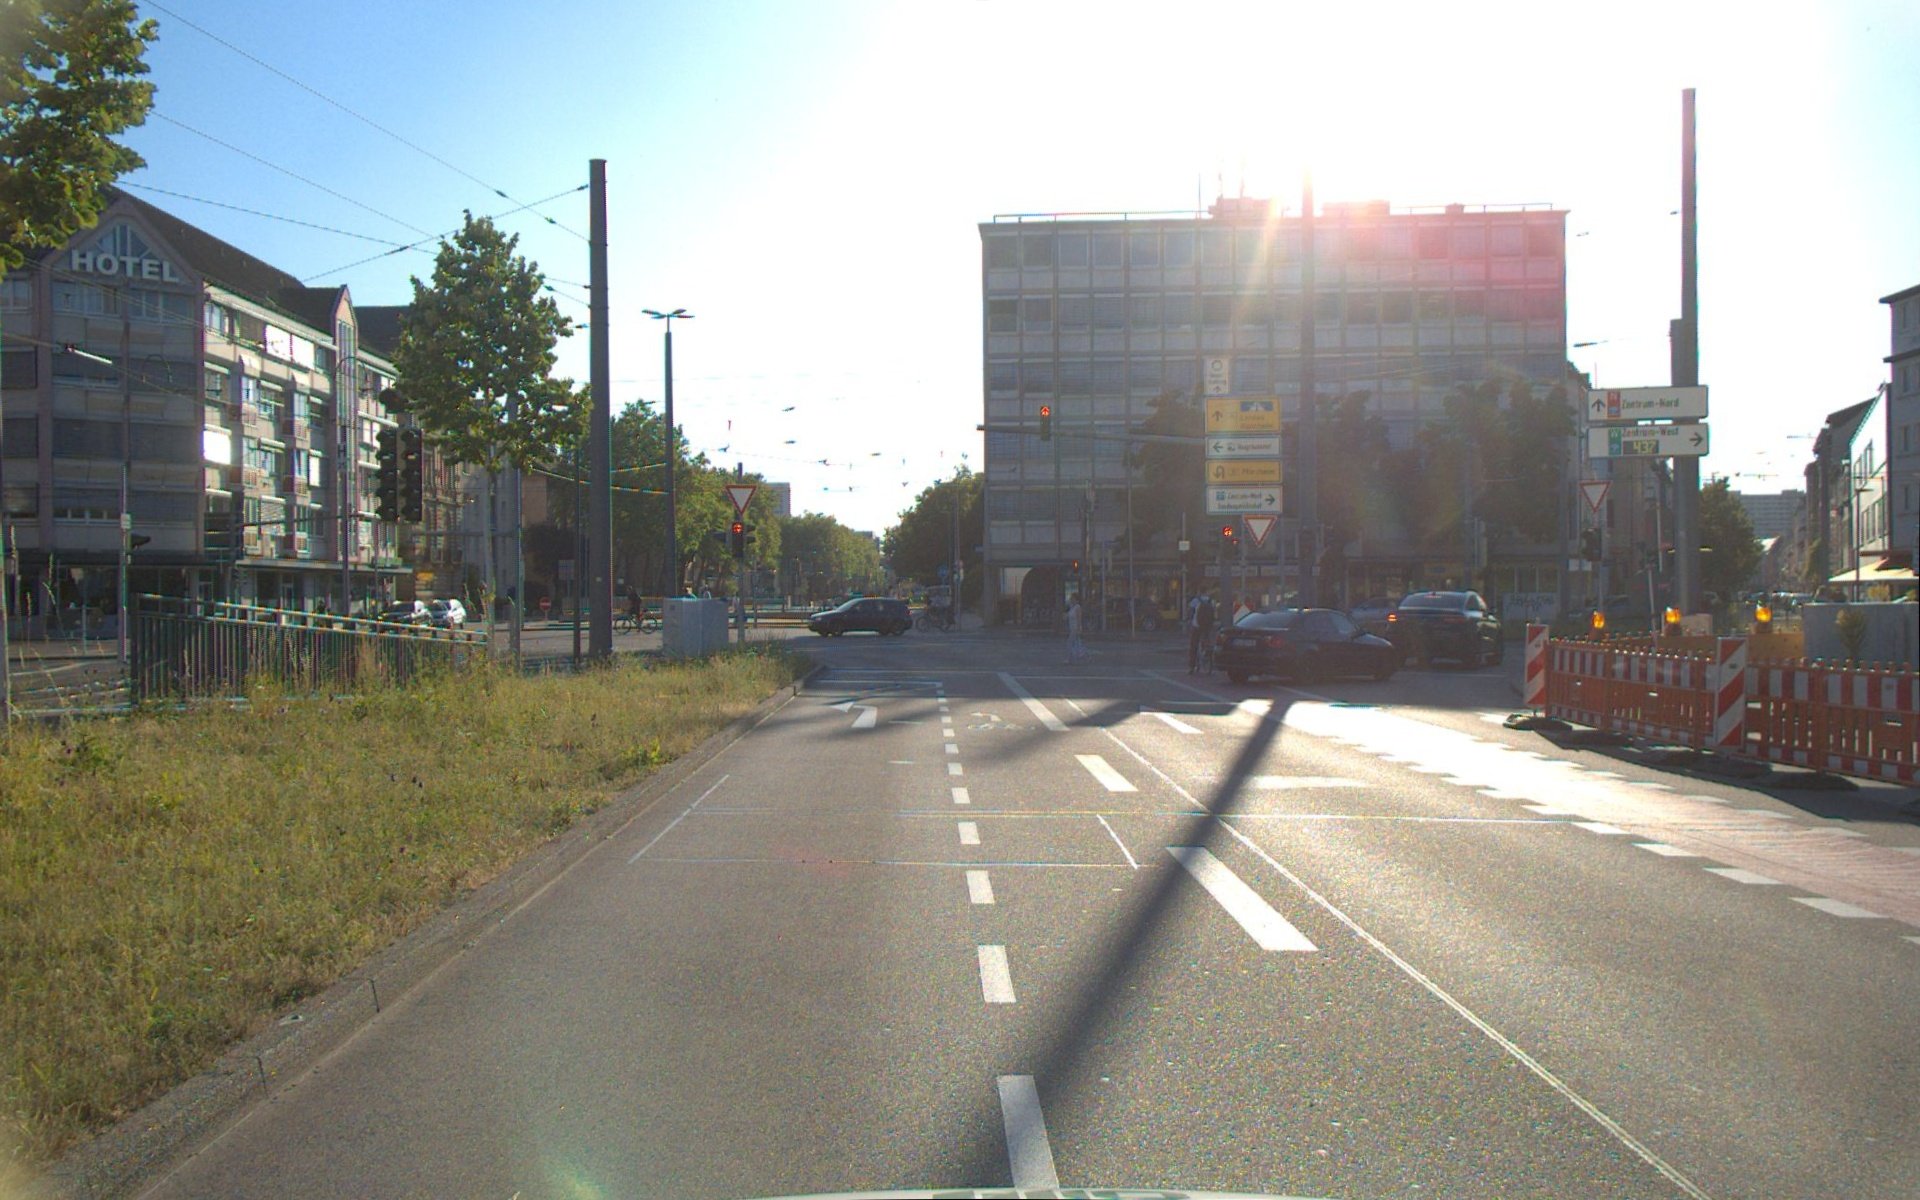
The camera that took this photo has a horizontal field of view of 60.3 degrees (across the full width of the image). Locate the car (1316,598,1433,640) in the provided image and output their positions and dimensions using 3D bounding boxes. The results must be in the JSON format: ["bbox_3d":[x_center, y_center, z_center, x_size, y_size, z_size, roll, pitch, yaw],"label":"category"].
[{"bbox_3d":[16.845,0.752,67.335,4.243,1.624,2.000,-1,0,0],"label":"car"}]

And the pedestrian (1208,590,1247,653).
[{"bbox_3d":[6.985,0.549,43.138,0.861,1.625,0.655,-1,0,-4],"label":"pedestrian"}]

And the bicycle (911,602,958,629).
[{"bbox_3d":[-1.166,0.692,74.518,2.053,1.157,0.657,-1,0,-6],"label":"bicycle"}]

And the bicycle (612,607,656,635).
[{"bbox_3d":[-13.226,0.855,67.123,1.744,1.091,0.533,-1,0,-12],"label":"bicycle"}]

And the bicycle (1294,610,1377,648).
[{"bbox_3d":[10.498,0.809,46.291,2.180,1.044,0.682,0,0,1],"label":"bicycle"}]

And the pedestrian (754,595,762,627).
[{"bbox_3d":[-9.693,0.543,79.411,0.359,1.534,0.542,-1,0,-8],"label":"pedestrian"}]

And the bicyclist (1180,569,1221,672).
[{"bbox_3d":[4.899,0.404,33.738,0.630,2.048,1.067,1,1,-1],"label":"bicyclist"}]

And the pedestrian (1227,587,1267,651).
[{"bbox_3d":[7.352,0.488,42.395,0.861,1.625,0.655,-1,0,-4],"label":"pedestrian"}]

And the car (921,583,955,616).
[{"bbox_3d":[-1.776,-0.039,131.429,2.436,2.434,5.932,-2,0,-2],"label":"car"}]

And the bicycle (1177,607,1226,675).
[{"bbox_3d":[4.880,0.817,33.531,0.631,1.244,2.048,1,2,-1],"label":"bicycle"}]

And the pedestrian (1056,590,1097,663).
[{"bbox_3d":[2.662,0.596,37.767,0.861,1.625,0.655,-1,0,-2],"label":"pedestrian"}]

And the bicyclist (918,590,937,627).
[{"bbox_3d":[-1.592,0.400,81.278,0.881,1.783,0.650,-1,0,-6],"label":"bicyclist"}]

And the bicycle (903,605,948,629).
[{"bbox_3d":[-1.683,0.829,81.272,2.132,1.157,0.658,-1,0,-6],"label":"bicycle"}]

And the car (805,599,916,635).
[{"bbox_3d":[-3.869,0.638,64.097,3.932,1.310,1.835,-1,0,-23],"label":"car"}]

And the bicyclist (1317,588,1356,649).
[{"bbox_3d":[10.525,0.501,46.283,0.939,1.690,0.691,0,0,2],"label":"bicyclist"}]

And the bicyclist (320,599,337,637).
[{"bbox_3d":[-32.003,0.906,83.788,0.581,1.894,0.642,-1,0,0],"label":"bicyclist"}]

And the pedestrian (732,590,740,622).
[{"bbox_3d":[-10.676,0.281,78.716,0.359,1.534,0.542,-1,0,-8],"label":"pedestrian"}]

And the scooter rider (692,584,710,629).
[{"bbox_3d":[-10.165,0.245,64.959,0.652,1.742,0.525,-1,0,-11],"label":"scooter rider"}]

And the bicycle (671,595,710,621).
[{"bbox_3d":[-11.859,0.351,72.779,1.701,1.078,0.538,-1,0,-12],"label":"bicycle"}]

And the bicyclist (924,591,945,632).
[{"bbox_3d":[-1.140,0.515,74.516,0.881,1.783,0.654,-1,0,-6],"label":"bicyclist"}]

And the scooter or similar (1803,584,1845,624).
[{"bbox_3d":[23.667,0.105,45.293,1.372,1.051,0.487,-1,0,-37],"label":"scooter or similar"}]

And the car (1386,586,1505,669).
[{"bbox_3d":[11.074,0.567,37.559,1.954,1.723,3.997,1,1,25],"label":"car"}]

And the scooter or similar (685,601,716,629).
[{"bbox_3d":[-10.201,0.579,64.953,1.151,1.091,0.528,-1,0,-11],"label":"scooter or similar"}]

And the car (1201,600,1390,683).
[{"bbox_3d":[6.399,0.730,31.270,1.719,1.451,3.975,0,0,42],"label":"car"}]

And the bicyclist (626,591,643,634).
[{"bbox_3d":[-13.216,0.502,67.131,0.652,1.742,0.537,-1,0,-11],"label":"bicyclist"}]

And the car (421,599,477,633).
[{"bbox_3d":[-29.496,0.884,95.549,1.952,1.892,4.000,-1,0,1],"label":"car"}]

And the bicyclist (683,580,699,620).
[{"bbox_3d":[-11.827,0.009,72.787,0.652,1.742,0.537,-1,0,-11],"label":"bicyclist"}]

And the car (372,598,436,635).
[{"bbox_3d":[-29.409,0.851,87.533,1.952,1.892,4.000,-1,0,1],"label":"car"}]
